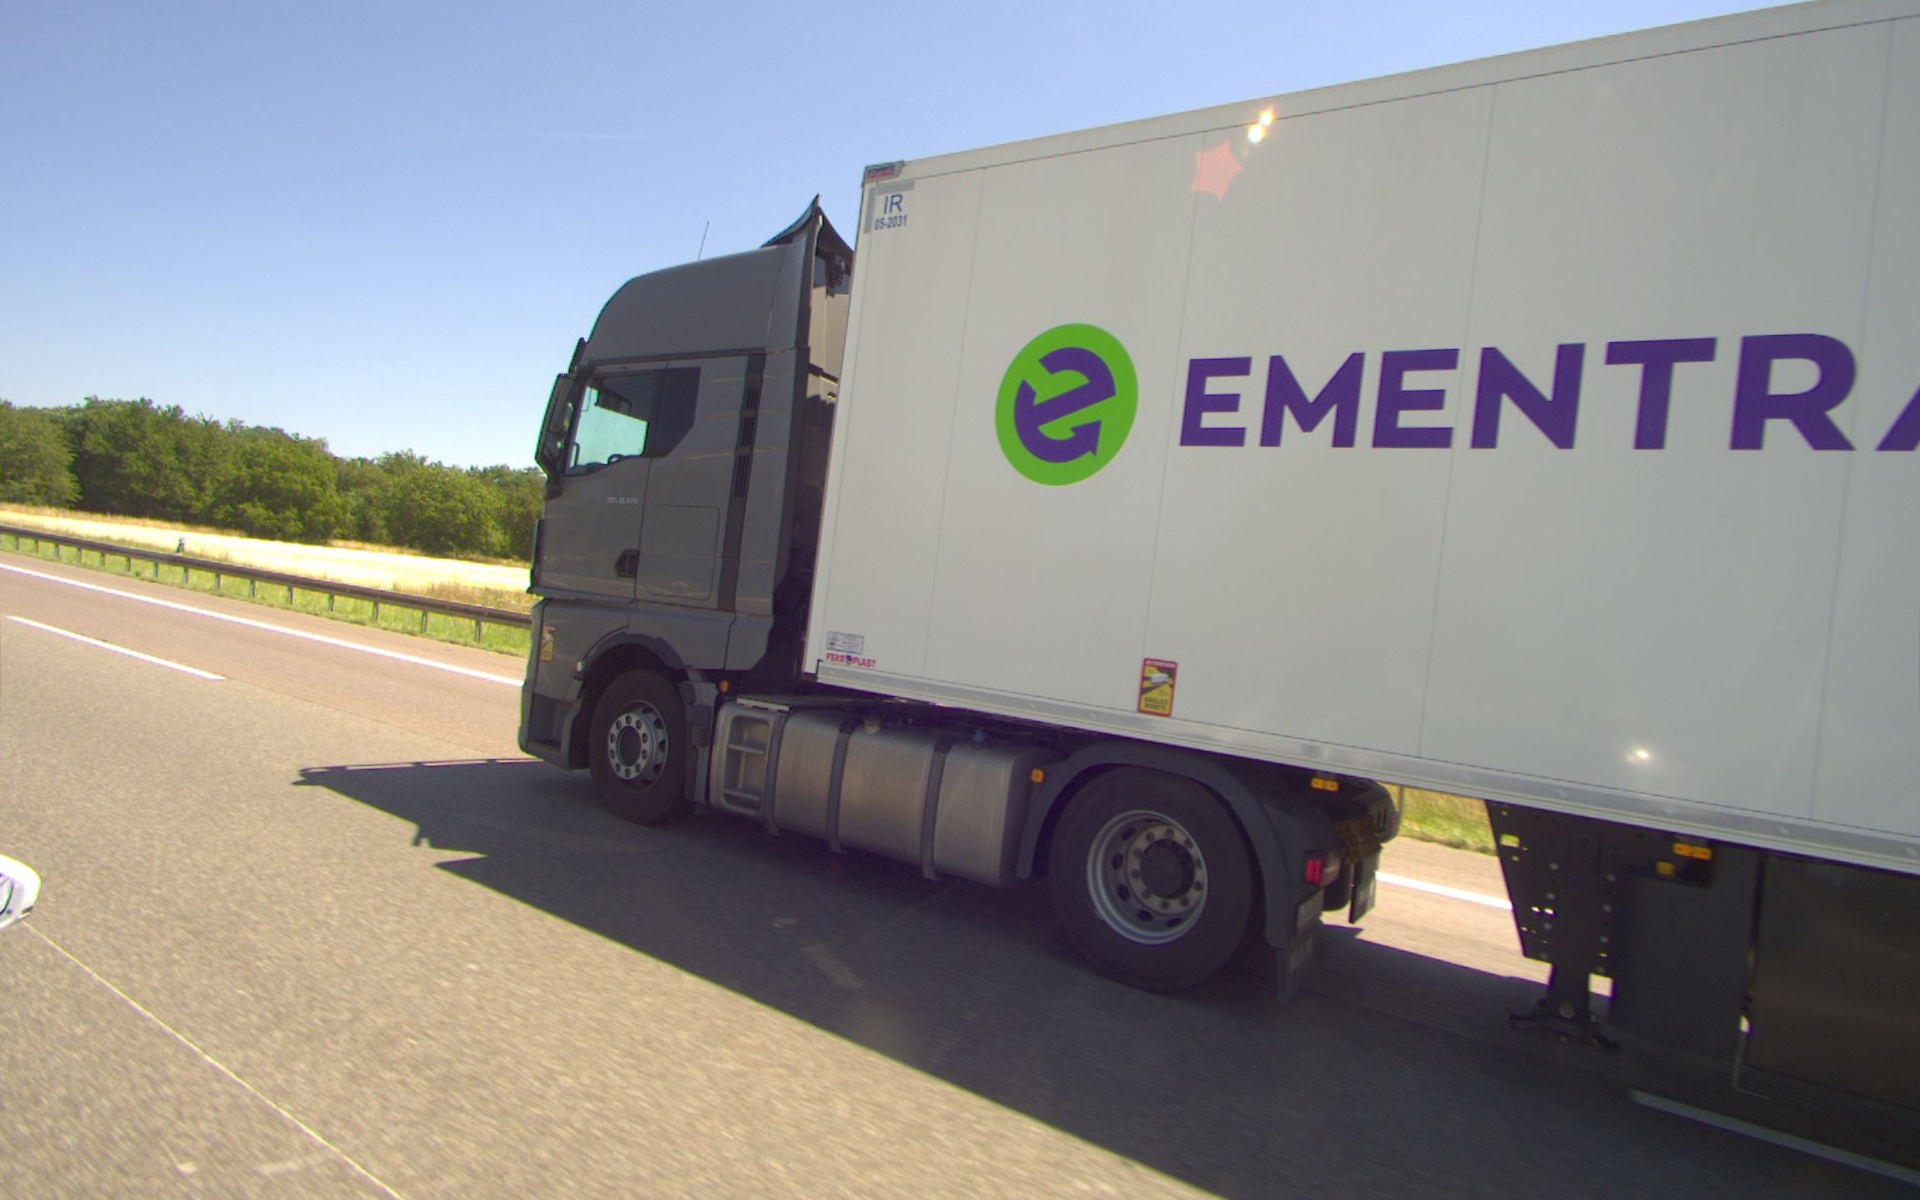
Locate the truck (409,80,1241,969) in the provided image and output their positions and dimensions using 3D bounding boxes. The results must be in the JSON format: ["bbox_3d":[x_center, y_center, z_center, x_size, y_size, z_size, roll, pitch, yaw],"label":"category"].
[{"bbox_3d":[-1.025,-0.448,7.389,4.894,4.306,2.913,6,-1,33],"label":"truck"}]

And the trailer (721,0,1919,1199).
[{"bbox_3d":[5.470,-0.098,3.277,13.756,4.712,2.906,6,-1,32],"label":"trailer"}]
